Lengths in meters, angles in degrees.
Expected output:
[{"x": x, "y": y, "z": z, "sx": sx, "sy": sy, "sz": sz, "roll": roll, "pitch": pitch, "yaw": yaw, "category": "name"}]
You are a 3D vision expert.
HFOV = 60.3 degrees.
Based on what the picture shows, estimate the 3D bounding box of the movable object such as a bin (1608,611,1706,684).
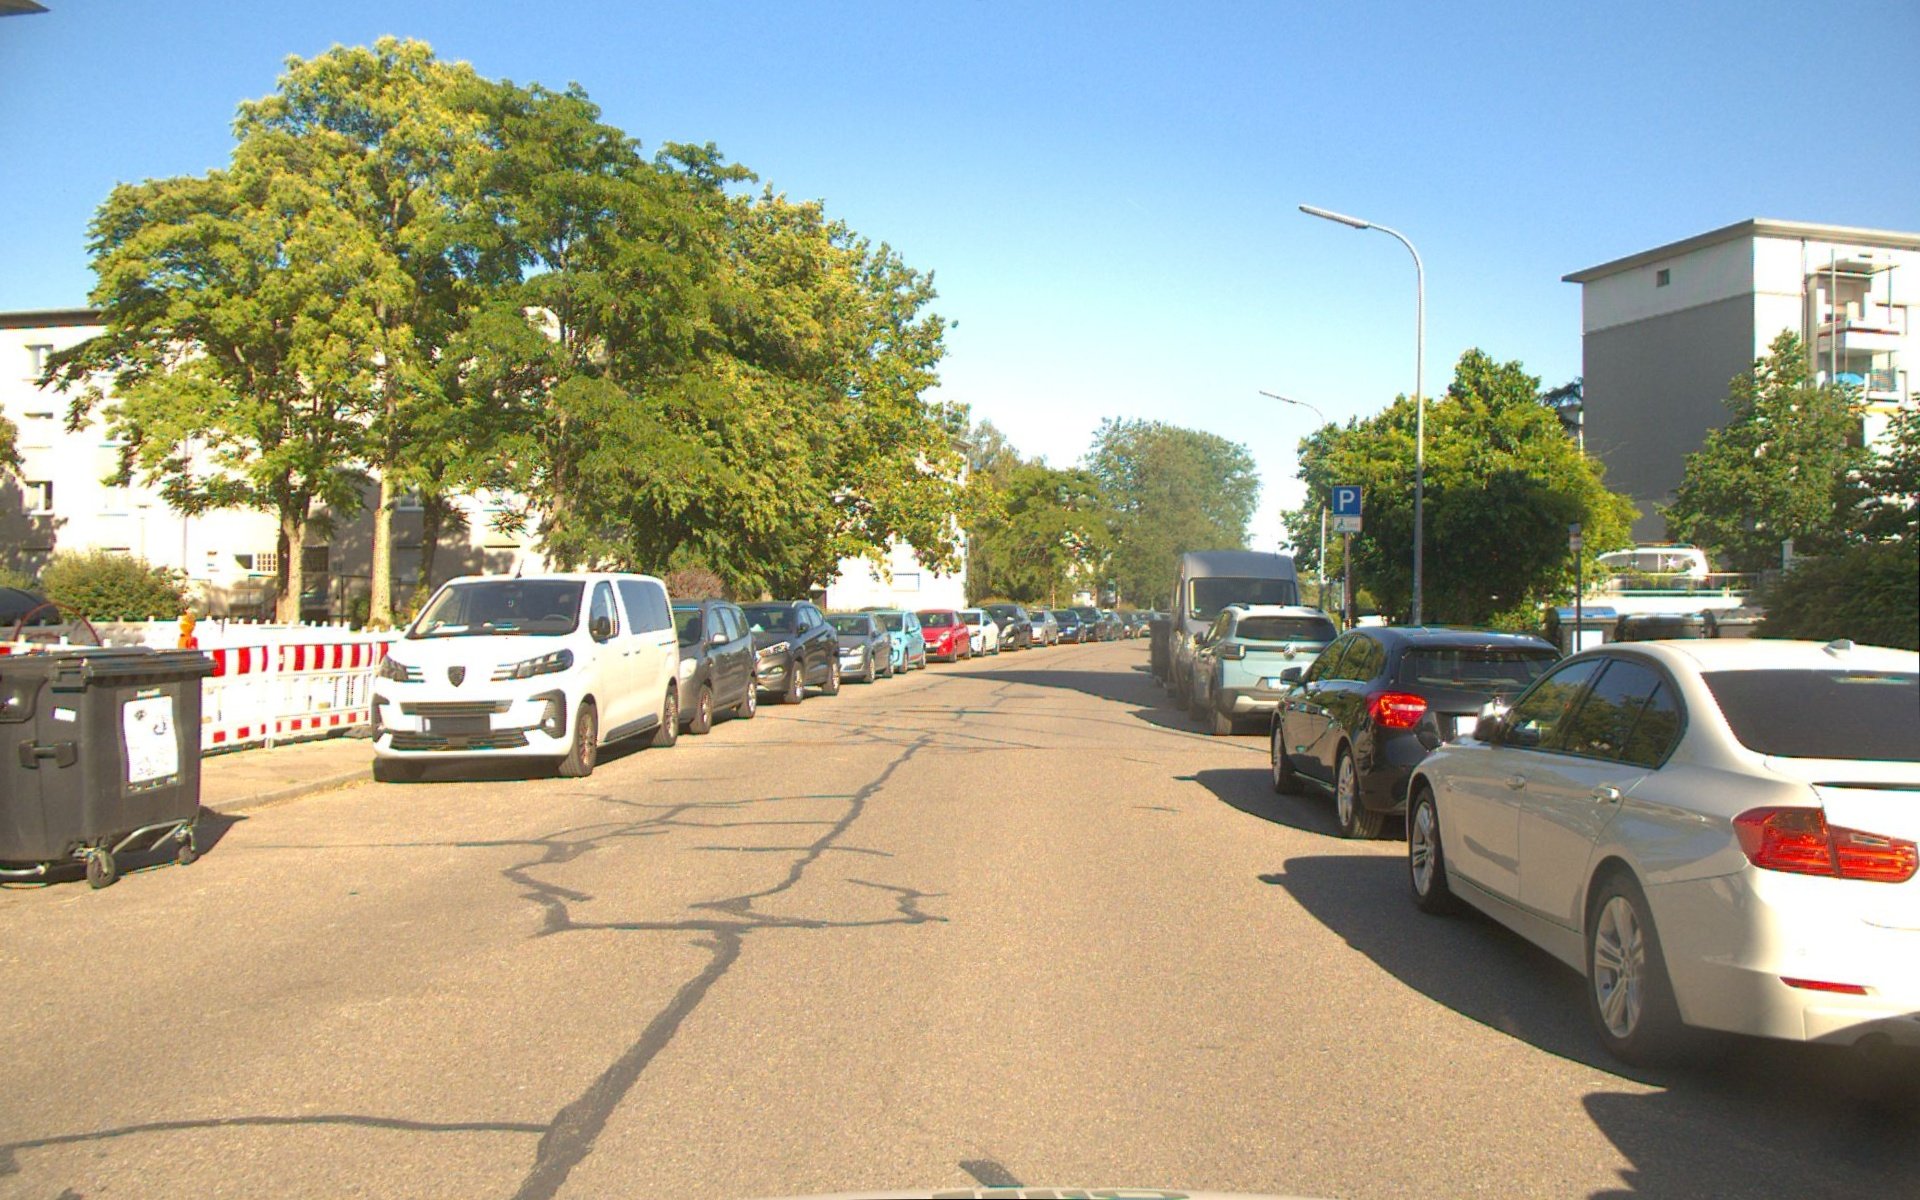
[{"x": 13.011, "y": 0.879, "z": 30.932, "sx": 1.382, "sy": 1.328, "sz": 1.383, "roll": -1, "pitch": -1, "yaw": 10, "category": "movable object such as a bin"}]

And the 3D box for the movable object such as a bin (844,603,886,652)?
[{"x": -2.988, "y": 0.863, "z": 52.318, "sx": 1.087, "sy": 1.525, "sz": 1.409, "roll": 0, "pitch": 0, "yaw": 7, "category": "movable object such as a bin"}]

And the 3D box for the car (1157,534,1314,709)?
[{"x": 4.410, "y": 0.345, "z": 27.326, "sx": 2.060, "sy": 2.530, "sz": 5.859, "roll": 2, "pitch": -1, "yaw": 5, "category": "car"}]

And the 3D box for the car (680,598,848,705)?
[{"x": -3.182, "y": 0.810, "z": 27.728, "sx": 1.711, "sy": 1.646, "sz": 4.366, "roll": 0, "pitch": 0, "yaw": 8, "category": "car"}]

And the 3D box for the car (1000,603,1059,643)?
[{"x": 2.776, "y": 0.898, "z": 65.603, "sx": 1.625, "sy": 1.512, "sz": 4.056, "roll": -2, "pitch": -1, "yaw": 12, "category": "car"}]

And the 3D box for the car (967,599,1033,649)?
[{"x": 1.461, "y": 0.842, "z": 59.278, "sx": 1.634, "sy": 1.696, "sz": 4.410, "roll": -1, "pitch": -1, "yaw": 11, "category": "car"}]

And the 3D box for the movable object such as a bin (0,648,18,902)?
[{"x": -5.495, "y": 0.934, "z": 8.398, "sx": 0.596, "sy": 1.363, "sz": 1.270, "roll": 0, "pitch": -1, "yaw": 6, "category": "movable object such as a bin"}]

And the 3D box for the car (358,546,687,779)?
[{"x": -4.155, "y": 0.549, "z": 16.555, "sx": 1.824, "sy": 1.995, "sz": 4.672, "roll": 0, "pitch": 0, "yaw": 3, "category": "car"}]

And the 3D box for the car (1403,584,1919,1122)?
[{"x": 3.275, "y": 0.737, "z": 6.836, "sx": 1.870, "sy": 1.514, "sz": 4.376, "roll": 0, "pitch": -1, "yaw": 2, "category": "car"}]

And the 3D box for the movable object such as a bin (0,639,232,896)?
[{"x": -4.979, "y": 0.918, "z": 9.607, "sx": 0.786, "sy": 1.339, "sz": 1.322, "roll": 0, "pitch": 0, "yaw": 8, "category": "movable object such as a bin"}]

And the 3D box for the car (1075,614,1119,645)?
[{"x": 6.770, "y": 1.424, "z": 81.470, "sx": 1.625, "sy": 1.464, "sz": 3.763, "roll": -2, "pitch": -1, "yaw": 12, "category": "car"}]

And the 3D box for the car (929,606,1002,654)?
[{"x": 0.207, "y": 0.939, "z": 52.615, "sx": 1.634, "sy": 1.446, "sz": 3.904, "roll": -1, "pitch": -1, "yaw": 11, "category": "car"}]

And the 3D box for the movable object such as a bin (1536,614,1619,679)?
[{"x": 12.908, "y": 0.960, "z": 34.632, "sx": 1.382, "sy": 1.328, "sz": 1.383, "roll": -1, "pitch": -1, "yaw": 10, "category": "movable object such as a bin"}]

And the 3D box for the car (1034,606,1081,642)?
[{"x": 4.194, "y": 1.028, "z": 70.935, "sx": 1.625, "sy": 1.451, "sz": 4.052, "roll": -2, "pitch": -1, "yaw": 9, "category": "car"}]

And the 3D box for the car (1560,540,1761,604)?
[{"x": 15.250, "y": -0.586, "z": 36.153, "sx": 3.663, "sy": 1.339, "sz": 1.858, "roll": 0, "pitch": -1, "yaw": 6, "category": "car"}]

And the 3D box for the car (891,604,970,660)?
[{"x": -0.808, "y": 0.890, "z": 47.060, "sx": 1.635, "sy": 1.500, "sz": 3.681, "roll": -1, "pitch": -1, "yaw": 8, "category": "car"}]

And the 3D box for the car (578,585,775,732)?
[{"x": -3.630, "y": 0.709, "z": 21.900, "sx": 1.523, "sy": 1.753, "sz": 4.343, "roll": 0, "pitch": 0, "yaw": 5, "category": "car"}]

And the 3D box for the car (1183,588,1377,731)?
[{"x": 4.101, "y": 0.736, "z": 21.873, "sx": 1.870, "sy": 1.695, "sz": 4.376, "roll": 0, "pitch": -1, "yaw": 2, "category": "car"}]

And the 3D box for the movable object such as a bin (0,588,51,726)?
[{"x": -10.579, "y": 0.592, "z": 17.459, "sx": 1.249, "sy": 1.426, "sz": 1.262, "roll": 0, "pitch": -1, "yaw": 1, "category": "movable object such as a bin"}]

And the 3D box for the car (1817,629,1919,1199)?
[{"x": 3.317, "y": 0.771, "z": 2.009, "sx": 1.953, "sy": 1.442, "sz": 4.922, "roll": 0, "pitch": -1, "yaw": -1, "category": "car"}]

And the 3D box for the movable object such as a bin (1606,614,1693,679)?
[{"x": 14.310, "y": 0.958, "z": 34.390, "sx": 1.382, "sy": 1.328, "sz": 1.383, "roll": -1, "pitch": -1, "yaw": 10, "category": "movable object such as a bin"}]

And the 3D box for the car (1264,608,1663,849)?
[{"x": 3.581, "y": 0.832, "z": 12.643, "sx": 1.870, "sy": 1.514, "sz": 4.376, "roll": 0, "pitch": -1, "yaw": 2, "category": "car"}]

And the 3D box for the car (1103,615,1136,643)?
[{"x": 8.603, "y": 1.558, "z": 89.237, "sx": 1.359, "sy": 1.438, "sz": 3.127, "roll": -2, "pitch": -1, "yaw": 13, "category": "car"}]

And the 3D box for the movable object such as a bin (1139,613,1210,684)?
[{"x": 4.259, "y": 0.957, "z": 32.727, "sx": 1.242, "sy": 1.336, "sz": 1.123, "roll": -1, "pitch": 1, "yaw": 14, "category": "movable object such as a bin"}]

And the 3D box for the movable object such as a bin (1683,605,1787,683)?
[{"x": 14.426, "y": 0.810, "z": 30.836, "sx": 1.396, "sy": 1.398, "sz": 1.383, "roll": -2, "pitch": -1, "yaw": 10, "category": "movable object such as a bin"}]

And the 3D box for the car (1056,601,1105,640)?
[{"x": 5.601, "y": 0.931, "z": 76.597, "sx": 1.625, "sy": 1.718, "sz": 4.052, "roll": -2, "pitch": -1, "yaw": 12, "category": "car"}]

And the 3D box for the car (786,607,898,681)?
[{"x": -2.450, "y": 0.909, "z": 35.237, "sx": 1.635, "sy": 1.462, "sz": 4.003, "roll": -1, "pitch": -1, "yaw": 6, "category": "car"}]

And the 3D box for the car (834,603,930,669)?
[{"x": -1.858, "y": 0.865, "z": 40.462, "sx": 1.635, "sy": 1.500, "sz": 3.681, "roll": -1, "pitch": -1, "yaw": 8, "category": "car"}]

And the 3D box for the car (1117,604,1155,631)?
[{"x": 10.233, "y": 1.001, "z": 95.974, "sx": 1.477, "sy": 1.477, "sz": 3.693, "roll": -2, "pitch": -1, "yaw": 16, "category": "car"}]

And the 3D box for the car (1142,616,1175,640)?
[{"x": 12.265, "y": 1.729, "z": 102.030, "sx": 1.477, "sy": 1.388, "sz": 3.469, "roll": -2, "pitch": -1, "yaw": 16, "category": "car"}]
